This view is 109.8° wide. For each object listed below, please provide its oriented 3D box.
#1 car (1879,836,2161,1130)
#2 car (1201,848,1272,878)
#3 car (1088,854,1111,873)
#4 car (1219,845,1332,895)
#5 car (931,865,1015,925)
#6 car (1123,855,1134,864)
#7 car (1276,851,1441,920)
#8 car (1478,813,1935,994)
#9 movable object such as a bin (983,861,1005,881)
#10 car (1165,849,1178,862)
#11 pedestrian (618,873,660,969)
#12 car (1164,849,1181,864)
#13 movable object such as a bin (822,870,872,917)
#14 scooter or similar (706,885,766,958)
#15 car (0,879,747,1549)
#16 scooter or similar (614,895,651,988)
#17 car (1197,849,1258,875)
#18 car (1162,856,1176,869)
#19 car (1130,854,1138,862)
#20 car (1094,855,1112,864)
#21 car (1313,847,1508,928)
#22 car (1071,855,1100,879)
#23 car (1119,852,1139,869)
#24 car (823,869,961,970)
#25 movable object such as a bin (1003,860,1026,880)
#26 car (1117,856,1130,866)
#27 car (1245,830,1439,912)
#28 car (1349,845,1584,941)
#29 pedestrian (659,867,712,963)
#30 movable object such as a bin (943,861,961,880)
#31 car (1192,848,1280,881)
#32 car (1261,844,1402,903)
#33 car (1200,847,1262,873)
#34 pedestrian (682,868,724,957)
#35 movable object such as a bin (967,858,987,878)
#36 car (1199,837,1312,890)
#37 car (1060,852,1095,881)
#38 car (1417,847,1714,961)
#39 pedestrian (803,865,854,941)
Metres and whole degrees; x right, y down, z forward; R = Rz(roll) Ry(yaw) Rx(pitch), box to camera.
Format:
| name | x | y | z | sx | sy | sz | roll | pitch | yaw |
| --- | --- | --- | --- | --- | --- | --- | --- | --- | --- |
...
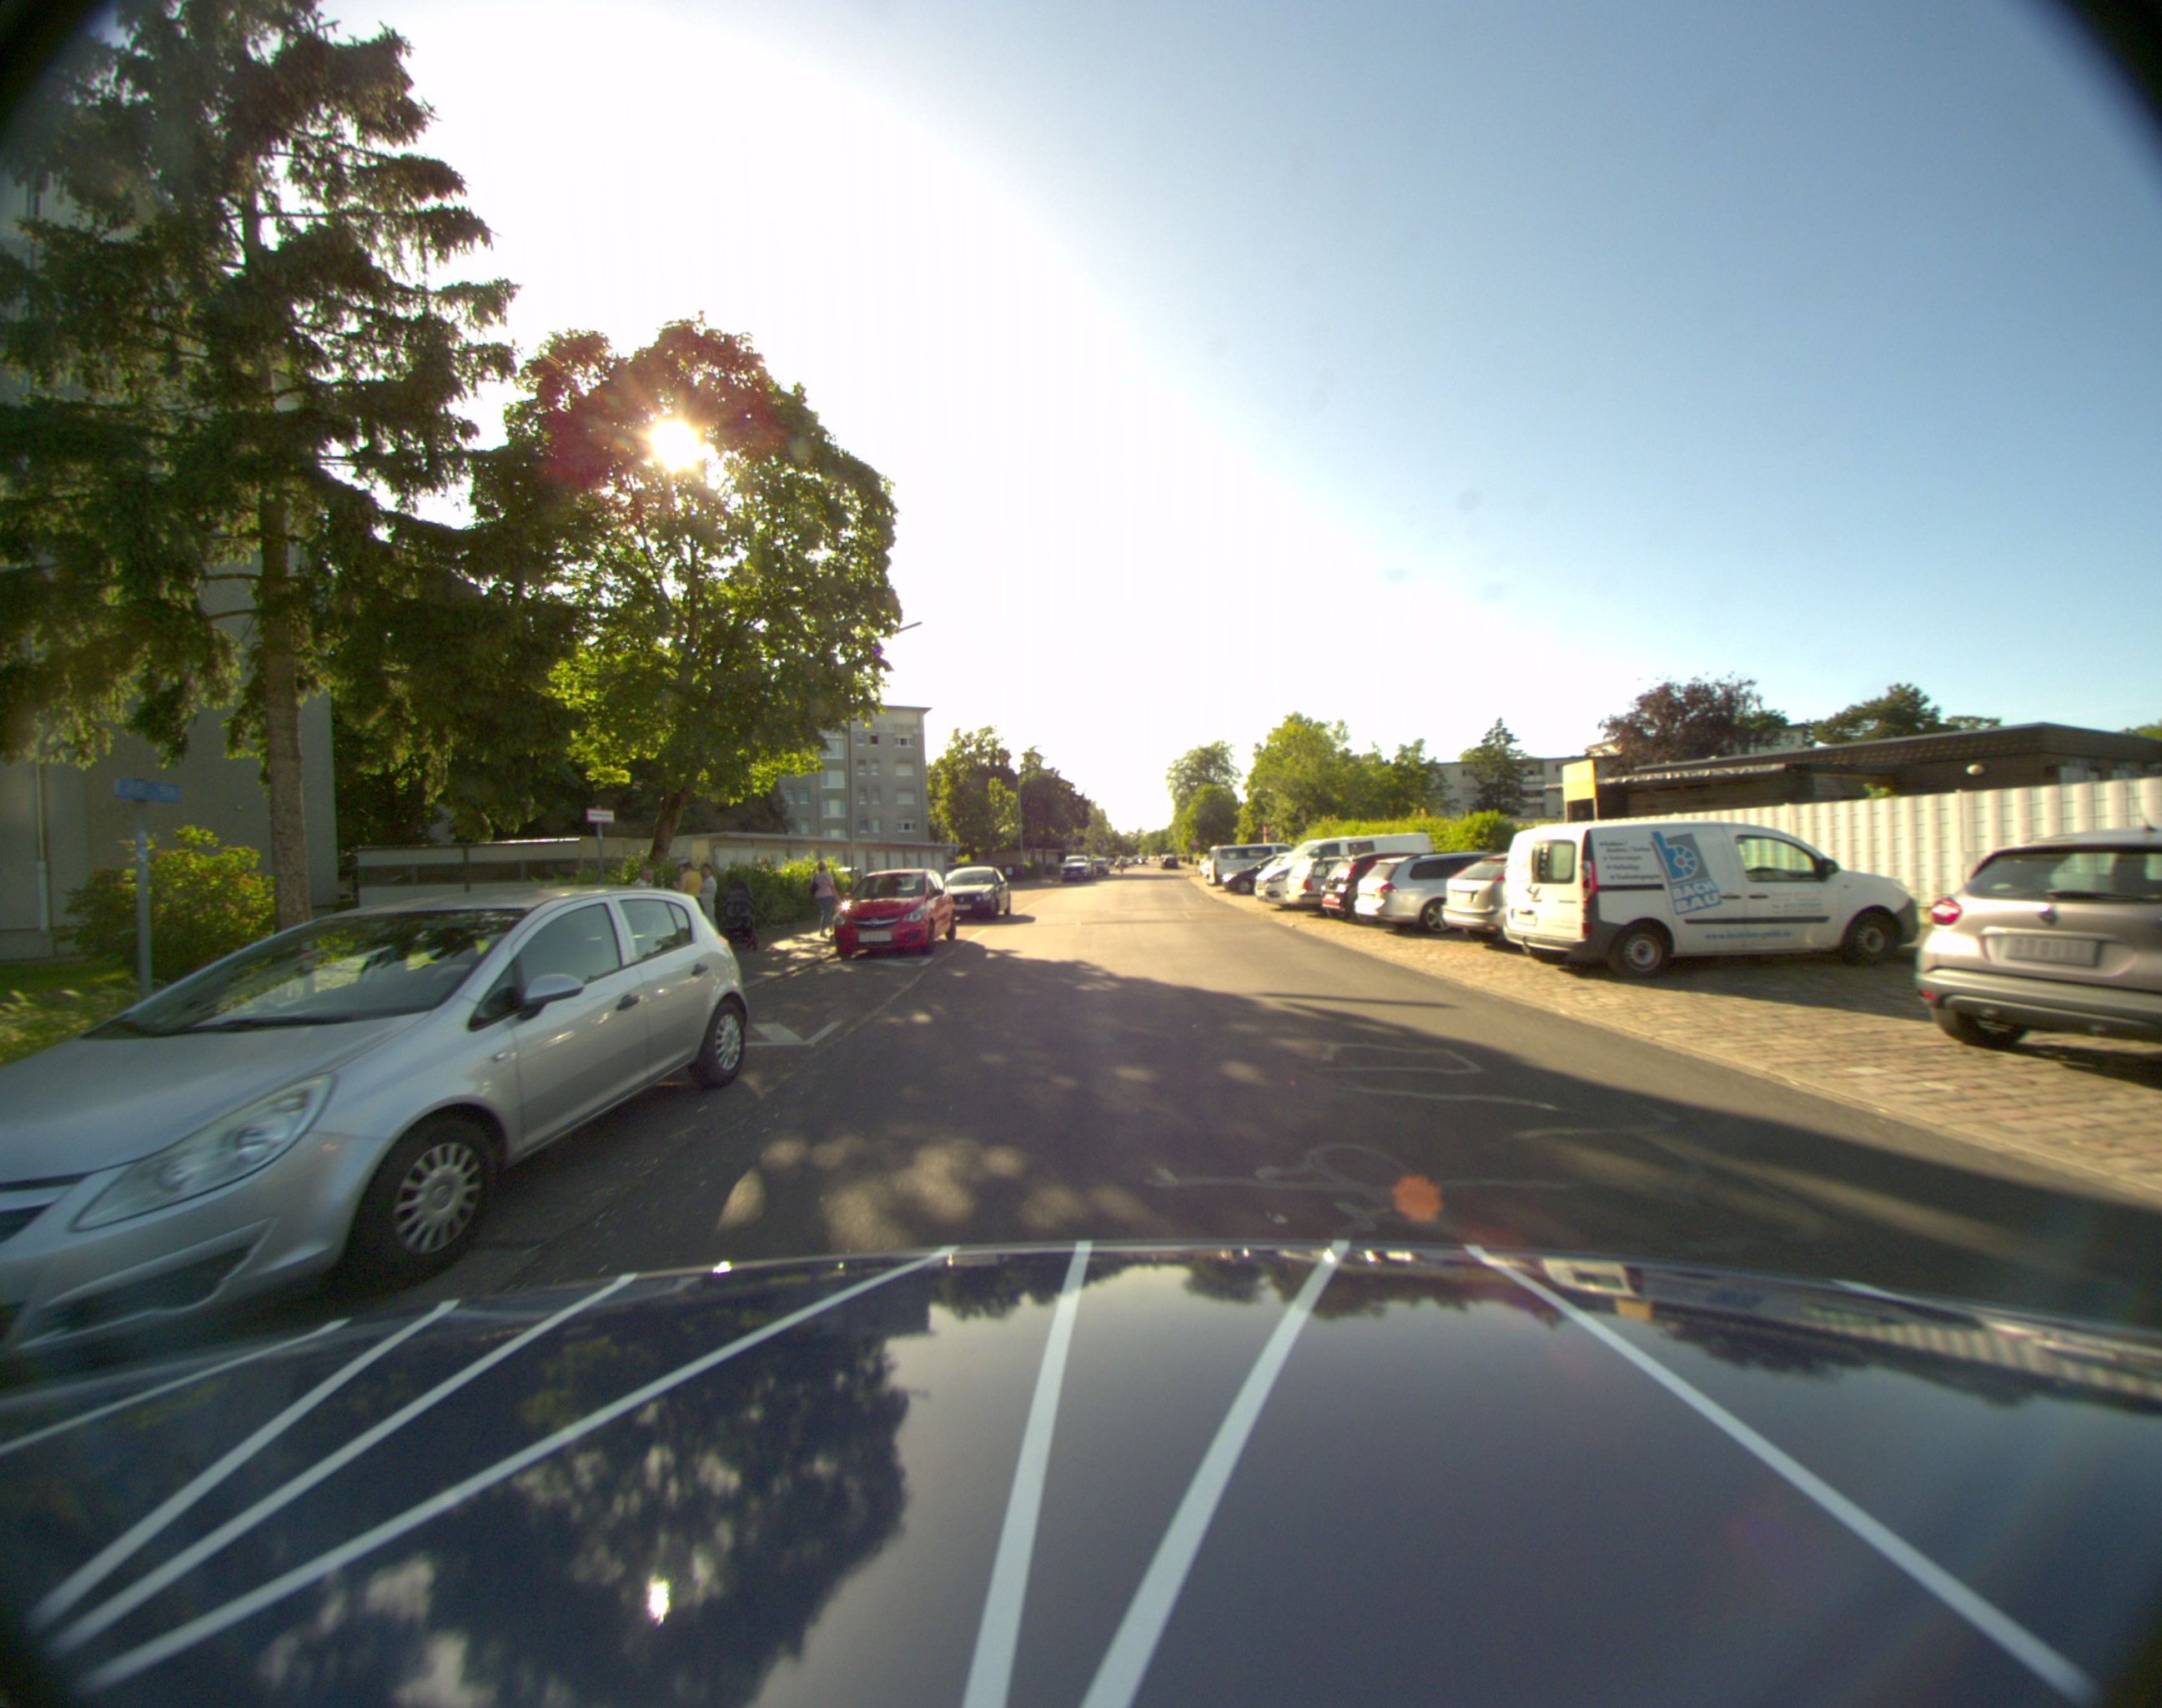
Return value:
| name | x | y | z | sx | sy | sz | roll | pitch | yaw |
| --- | --- | --- | --- | --- | --- | --- | --- | --- | --- |
| car | 7.729 | 0.650 | 4.716 | 3.825 | 1.523 | 1.788 | -3 | 1 | -4 |
| car | 9.359 | 0.548 | 46.040 | 3.995 | 1.470 | 1.792 | -4 | -1 | 5 |
| car | 1.788 | 0.863 | 71.096 | 1.808 | 1.584 | 4.025 | -4 | 0 | 5 |
| car | 7.731 | 0.627 | 30.482 | 4.158 | 1.696 | 1.885 | -4 | 1 | 12 |
| car | -2.935 | 1.091 | 21.405 | 1.651 | 1.395 | 3.882 | -2 | 1 | 2 |
| car | 8.619 | 0.962 | 138.115 | 1.731 | 1.586 | 3.814 | -3 | 0 | 6 |
| car | 7.012 | 0.763 | 19.386 | 3.523 | 1.438 | 1.636 | -4 | 1 | -3 |
| car | 7.391 | 0.541 | 9.303 | 3.988 | 1.770 | 1.925 | -3 | 0 | -2 |
| movable object such as a bin | -6.268 | 1.223 | 54.715 | 1.252 | 1.339 | 1.054 | -2 | 1 | 17 |
| car | 13.436 | 0.180 | 112.528 | 1.909 | 1.930 | 4.513 | 0 | 0 | 6 |
| pedestrian | -7.162 | 1.076 | 12.329 | 0.362 | 1.495 | 0.500 | -1 | 2 | -1 |
| car | 10.666 | 0.317 | 88.865 | 1.783 | 1.564 | 4.426 | -3 | 0 | 6 |
| movable object such as a bin | -7.551 | 1.264 | 24.515 | 1.240 | 1.395 | 0.914 | -2 | 1 | 3 |
| scooter or similar | -6.246 | 1.205 | 13.781 | 0.624 | 1.220 | 0.905 | -1 | 1 | 1 |
| car | -3.388 | 1.009 | 3.789 | 1.736 | 1.534 | 3.788 | -3 | 1 | -1 |
| scooter or similar | -6.595 | 1.255 | 11.198 | 0.401 | 1.220 | 1.251 | -2 | 1 | -29 |
| car | 10.313 | 0.524 | 53.744 | 3.996 | 1.524 | 1.832 | -4 | 1 | 4 |
| car | 11.456 | 1.078 | 98.864 | 1.817 | 1.672 | 3.650 | 0 | 0 | 6 |
| car | 12.069 | 0.883 | 172.869 | 1.731 | 1.586 | 3.814 | -3 | 0 | 6 |
| car | 4.453 | 1.126 | 151.987 | 3.503 | 1.499 | 1.602 | -4 | 1 | 0 |
| car | 7.172 | 0.727 | 16.771 | 3.523 | 1.480 | 1.637 | -4 | -1 | -1 |
| car | 0.421 | 1.022 | 61.025 | 1.837 | 1.780 | 4.557 | -4 | -1 | 5 |
| car | 4.734 | 0.628 | 74.651 | 1.731 | 1.586 | 3.814 | -3 | 0 | 6 |
| car | -3.323 | 1.092 | 14.064 | 1.579 | 1.438 | 3.788 | -3 | 1 | -1 |
| movable object such as a bin | -4.735 | 1.157 | 54.067 | 1.252 | 1.339 | 1.054 | -2 | 1 | 17 |
| car | 6.475 | 1.068 | 116.185 | 1.731 | 1.462 | 3.814 | -3 | 0 | 6 |
| car | 7.419 | 0.474 | 21.987 | 4.801 | 1.909 | 2.081 | -4 | 0 | -1 |
| car | 7.155 | 0.702 | 14.391 | 3.521 | 1.480 | 1.637 | -4 | 0 | 4 |
| pedestrian | -6.621 | 1.006 | 12.730 | 0.482 | 1.556 | 0.597 | 0 | 2 | 11 |
| movable object such as a bin | -9.688 | 1.239 | 57.127 | 1.077 | 1.409 | 0.834 | -2 | 1 | 11 |
| car | 8.537 | 0.589 | 42.223 | 4.553 | 1.470 | 1.748 | -4 | 0 | 5 |
| car | 8.127 | 0.607 | 24.928 | 3.995 | 1.573 | 1.884 | -4 | 1 | 5 |
| car | 11.139 | 0.445 | 56.622 | 4.196 | 1.646 | 1.847 | -4 | 1 | 3 |
| pedestrian | -6.842 | 1.044 | 13.765 | 0.487 | 1.556 | 0.469 | -1 | 2 | -3 |
| movable object such as a bin | -7.545 | 1.024 | 55.208 | 1.077 | 1.339 | 0.866 | -2 | 1 | 17 |
| car | 7.601 | 0.411 | 33.452 | 4.489 | 1.965 | 2.000 | -4 | 1 | 4 |
| car | -0.200 | 0.857 | 54.295 | 1.911 | 1.829 | 5.277 | -4 | -1 | 5 |
| car | 7.409 | 0.721 | 11.836 | 3.523 | 1.480 | 1.727 | -3 | 0 | -4 |
| pedestrian | -5.501 | 1.058 | 16.578 | 0.789 | 1.555 | 0.569 | -4 | 1 | 1 |
